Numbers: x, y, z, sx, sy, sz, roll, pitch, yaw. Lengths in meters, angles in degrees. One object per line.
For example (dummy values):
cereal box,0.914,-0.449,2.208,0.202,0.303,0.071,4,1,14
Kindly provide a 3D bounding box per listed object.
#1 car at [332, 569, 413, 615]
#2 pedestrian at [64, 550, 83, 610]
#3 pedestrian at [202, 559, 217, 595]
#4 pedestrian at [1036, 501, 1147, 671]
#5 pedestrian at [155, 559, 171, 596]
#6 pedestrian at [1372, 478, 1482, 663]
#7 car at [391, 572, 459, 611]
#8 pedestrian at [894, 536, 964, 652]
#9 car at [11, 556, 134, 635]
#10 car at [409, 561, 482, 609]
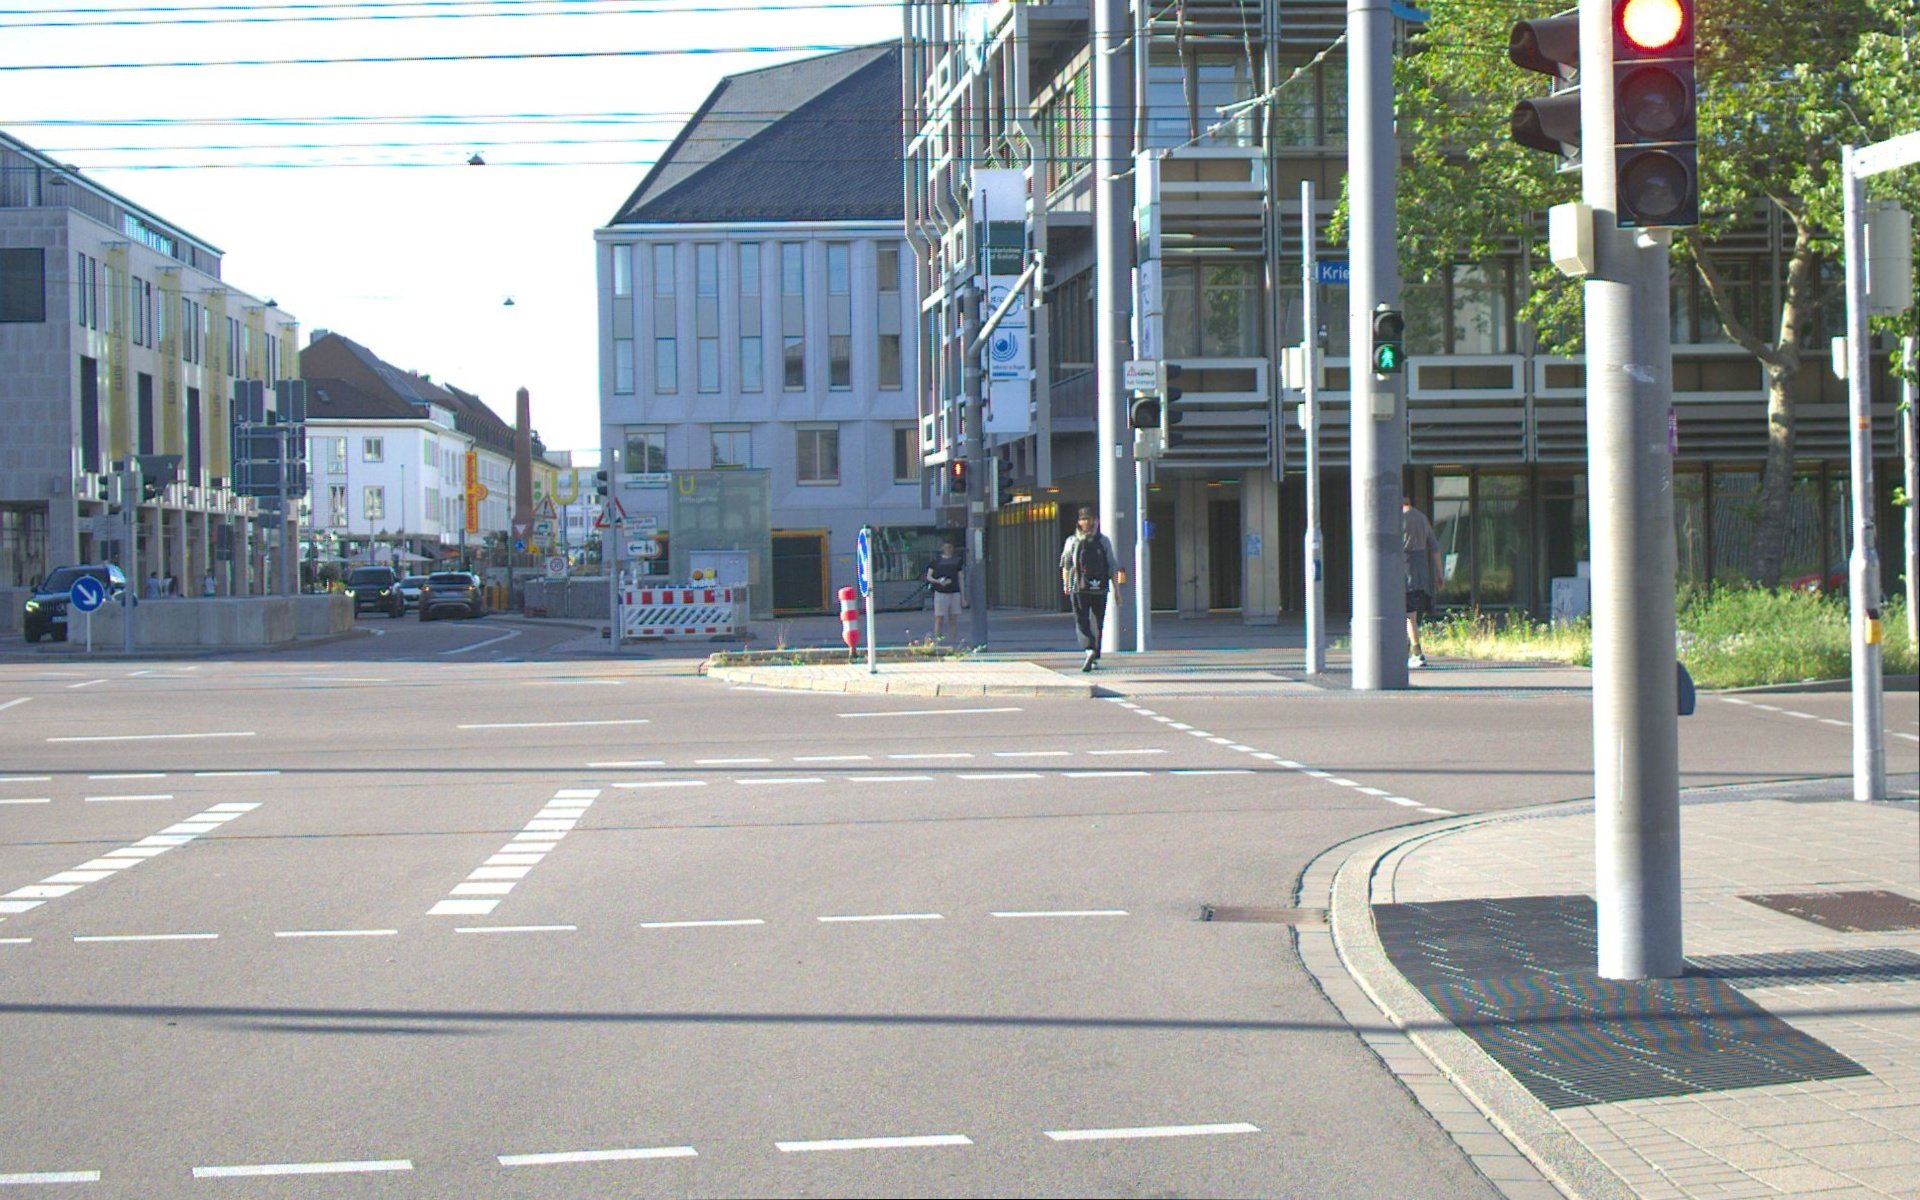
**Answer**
car,-22.027,-0.301,129.041,2.174,1.686,5.487,-1,0,-1
pedestrian,-30.001,-0.669,116.352,0.616,2.007,0.478,1,0,-15
pedestrian,-28.592,-0.875,130.897,0.488,1.352,0.564,1,0,-6
pedestrian,1.224,-0.142,32.240,0.895,1.544,0.924,-1,2,-7
pedestrian,-29.226,-0.836,126.060,0.488,1.352,0.564,1,0,-6
pedestrian,4.464,-0.293,32.874,0.855,1.738,0.739,-1,1,-8
car,-23.820,-0.369,153.304,2.174,1.686,5.615,-1,0,0
pedestrian,-0.518,-0.106,57.366,1.012,1.904,1.050,0,1,8
car,-19.600,-0.115,76.102,1.937,1.672,4.295,-1,1,-5
car,-16.190,-0.467,108.335,1.936,1.445,4.263,-1,0,-4
